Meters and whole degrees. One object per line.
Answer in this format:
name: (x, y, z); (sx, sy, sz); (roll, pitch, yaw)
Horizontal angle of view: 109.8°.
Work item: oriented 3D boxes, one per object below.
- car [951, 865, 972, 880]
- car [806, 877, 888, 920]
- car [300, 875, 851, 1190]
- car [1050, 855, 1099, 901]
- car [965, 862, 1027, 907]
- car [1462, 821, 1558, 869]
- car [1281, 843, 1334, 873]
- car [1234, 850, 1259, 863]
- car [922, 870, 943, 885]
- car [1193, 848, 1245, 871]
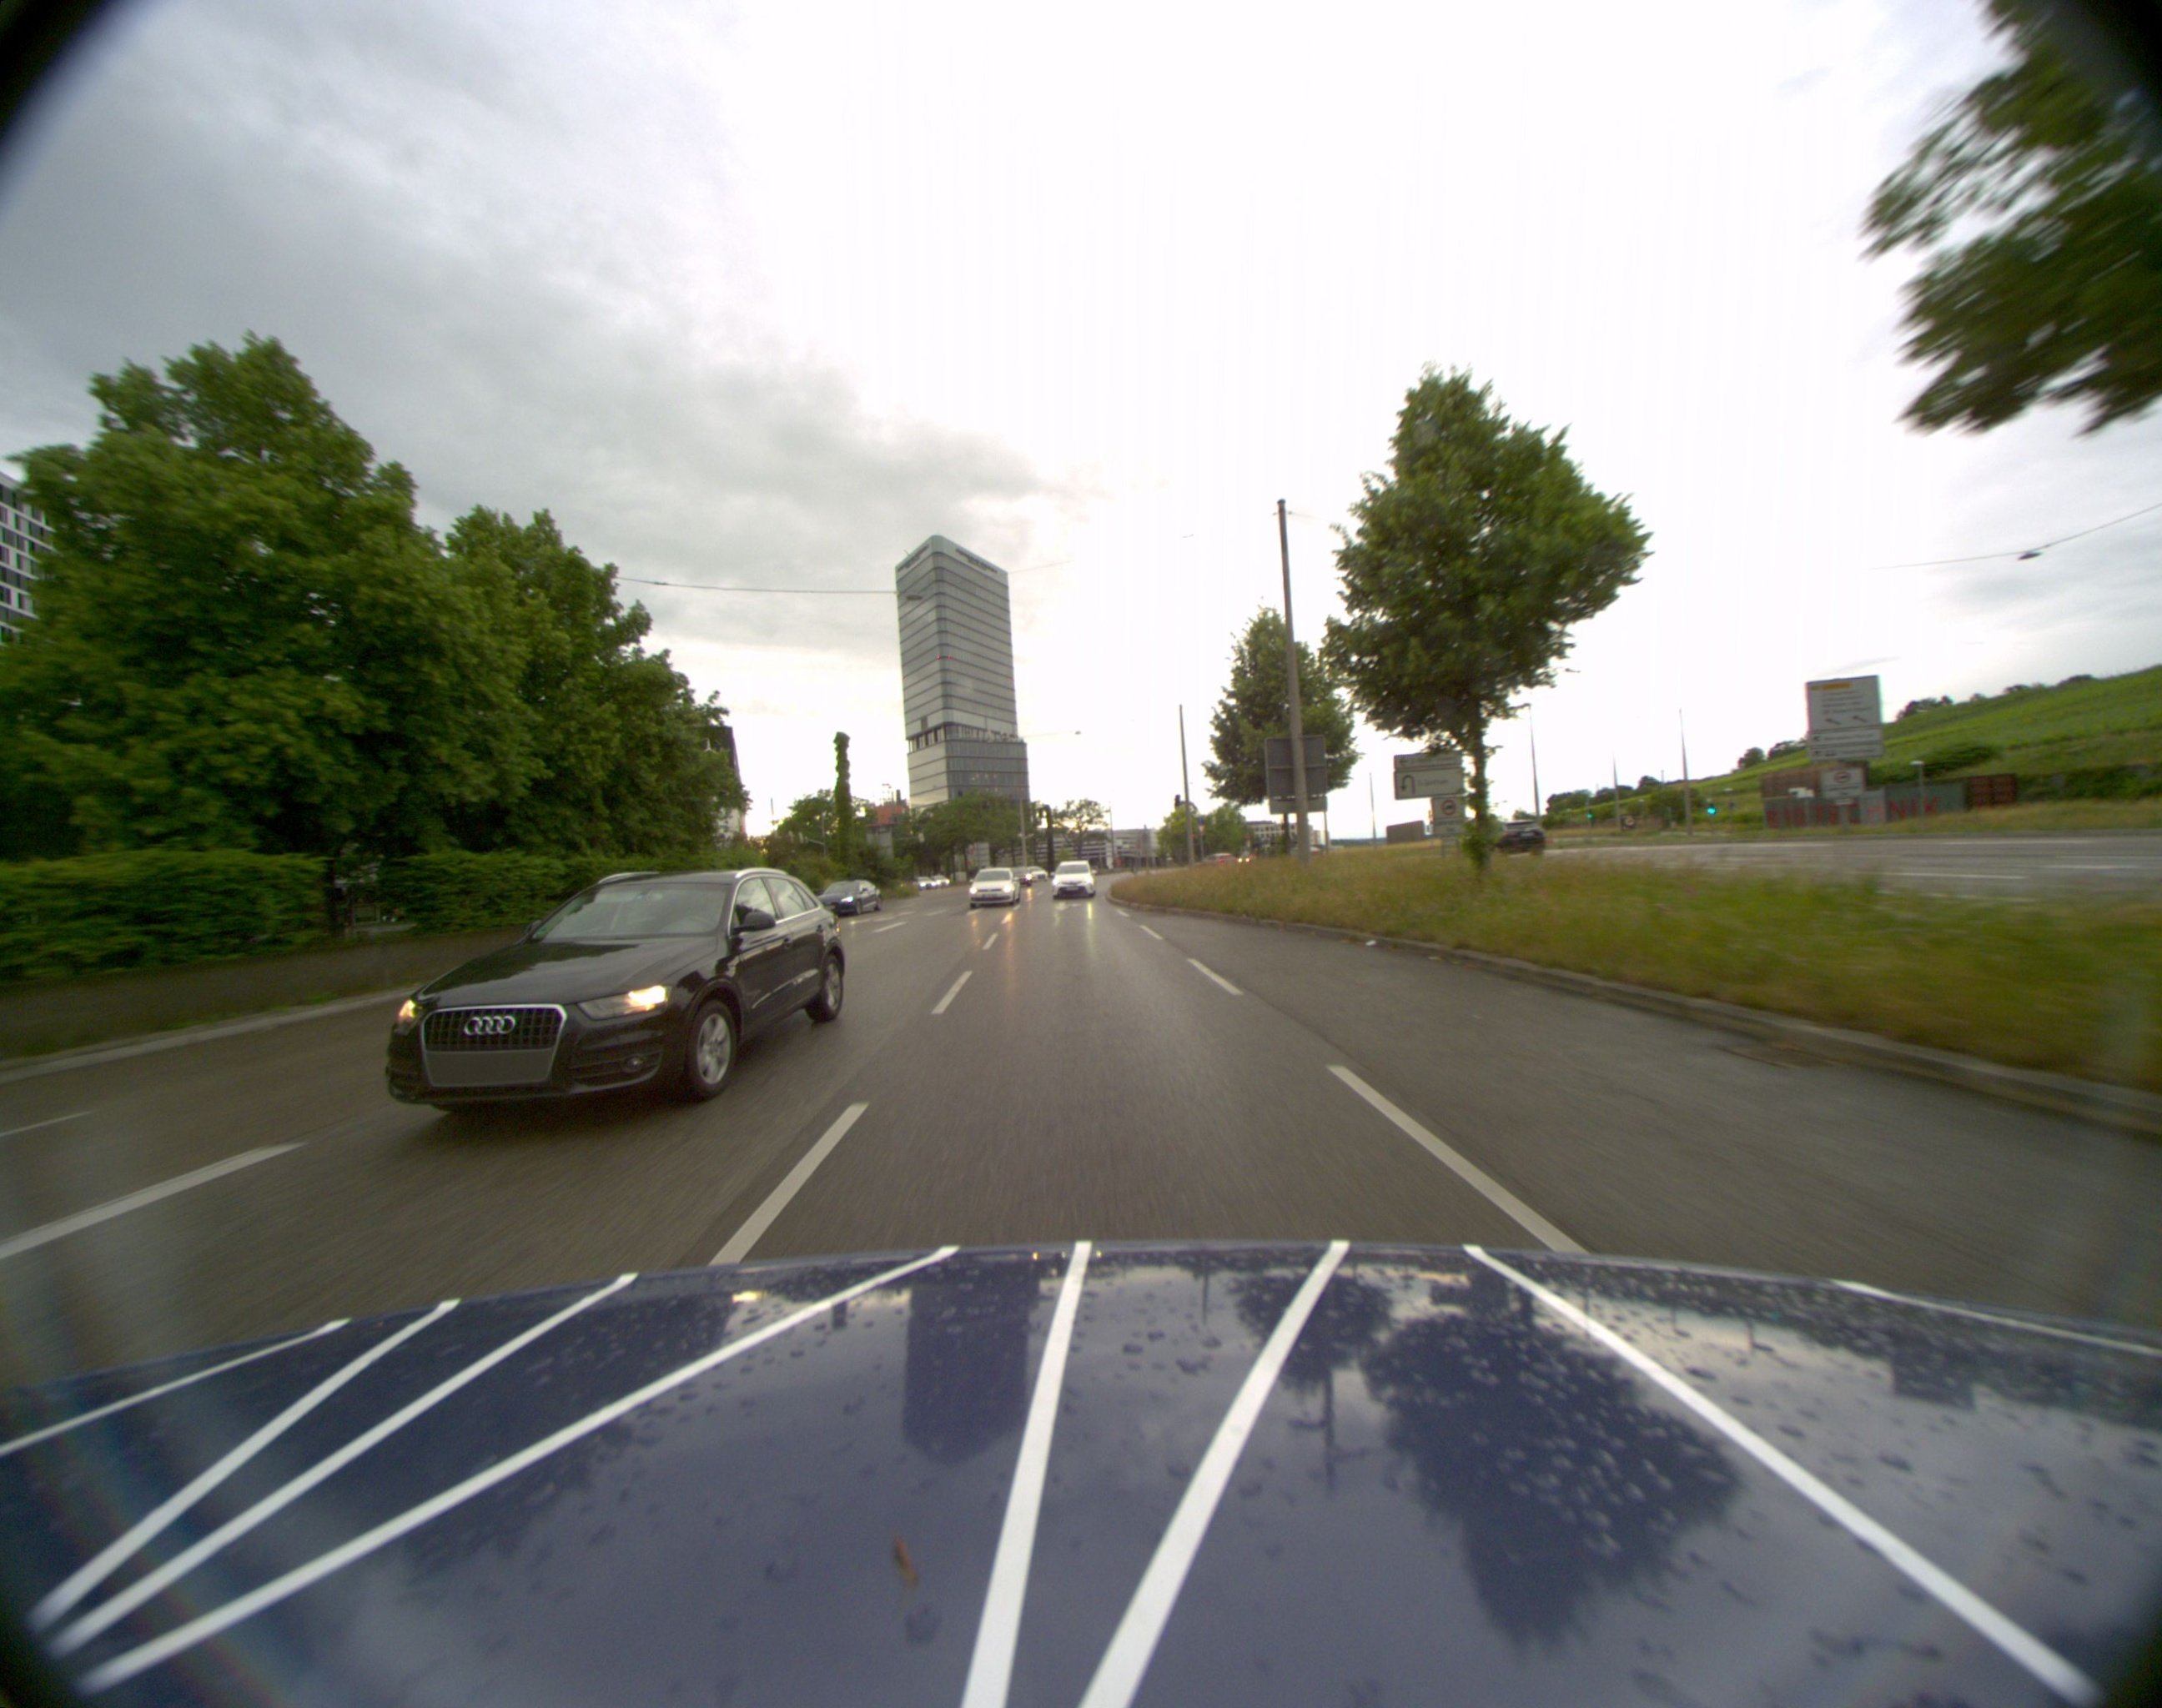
car: (-21.544, 3.362, 136.813); (1.934, 2.569, 5.449); (-5, 0, -29)
car: (-9.323, 1.751, 30.670); (1.758, 1.390, 4.001); (-4, 0, 4)
car: (-3.396, 1.033, 6.240); (1.730, 1.524, 4.126); (-4, 0, -1)
car: (-0.213, 0.989, 33.699); (1.827, 1.575, 4.296); (-4, 3, 3)
car: (-3.264, 1.141, 29.919); (1.729, 1.463, 4.264); (-5, 0, 2)
car: (17.883, -0.355, 31.910); (1.771, 1.739, 4.000); (-4, 0, 2)
car: (13.776, 0.235, 46.456); (1.883, 1.644, 4.357); (-4, 0, 1)
car: (23.256, 0.293, 106.680); (1.792, 1.579, 3.912); (-4, 0, 38)
car: (-16.701, 2.653, 85.415); (1.635, 1.467, 3.676); (-4, 0, -1)
car: (10.304, 0.454, 57.147); (1.740, 1.453, 4.335); (-4, 0, -21)
